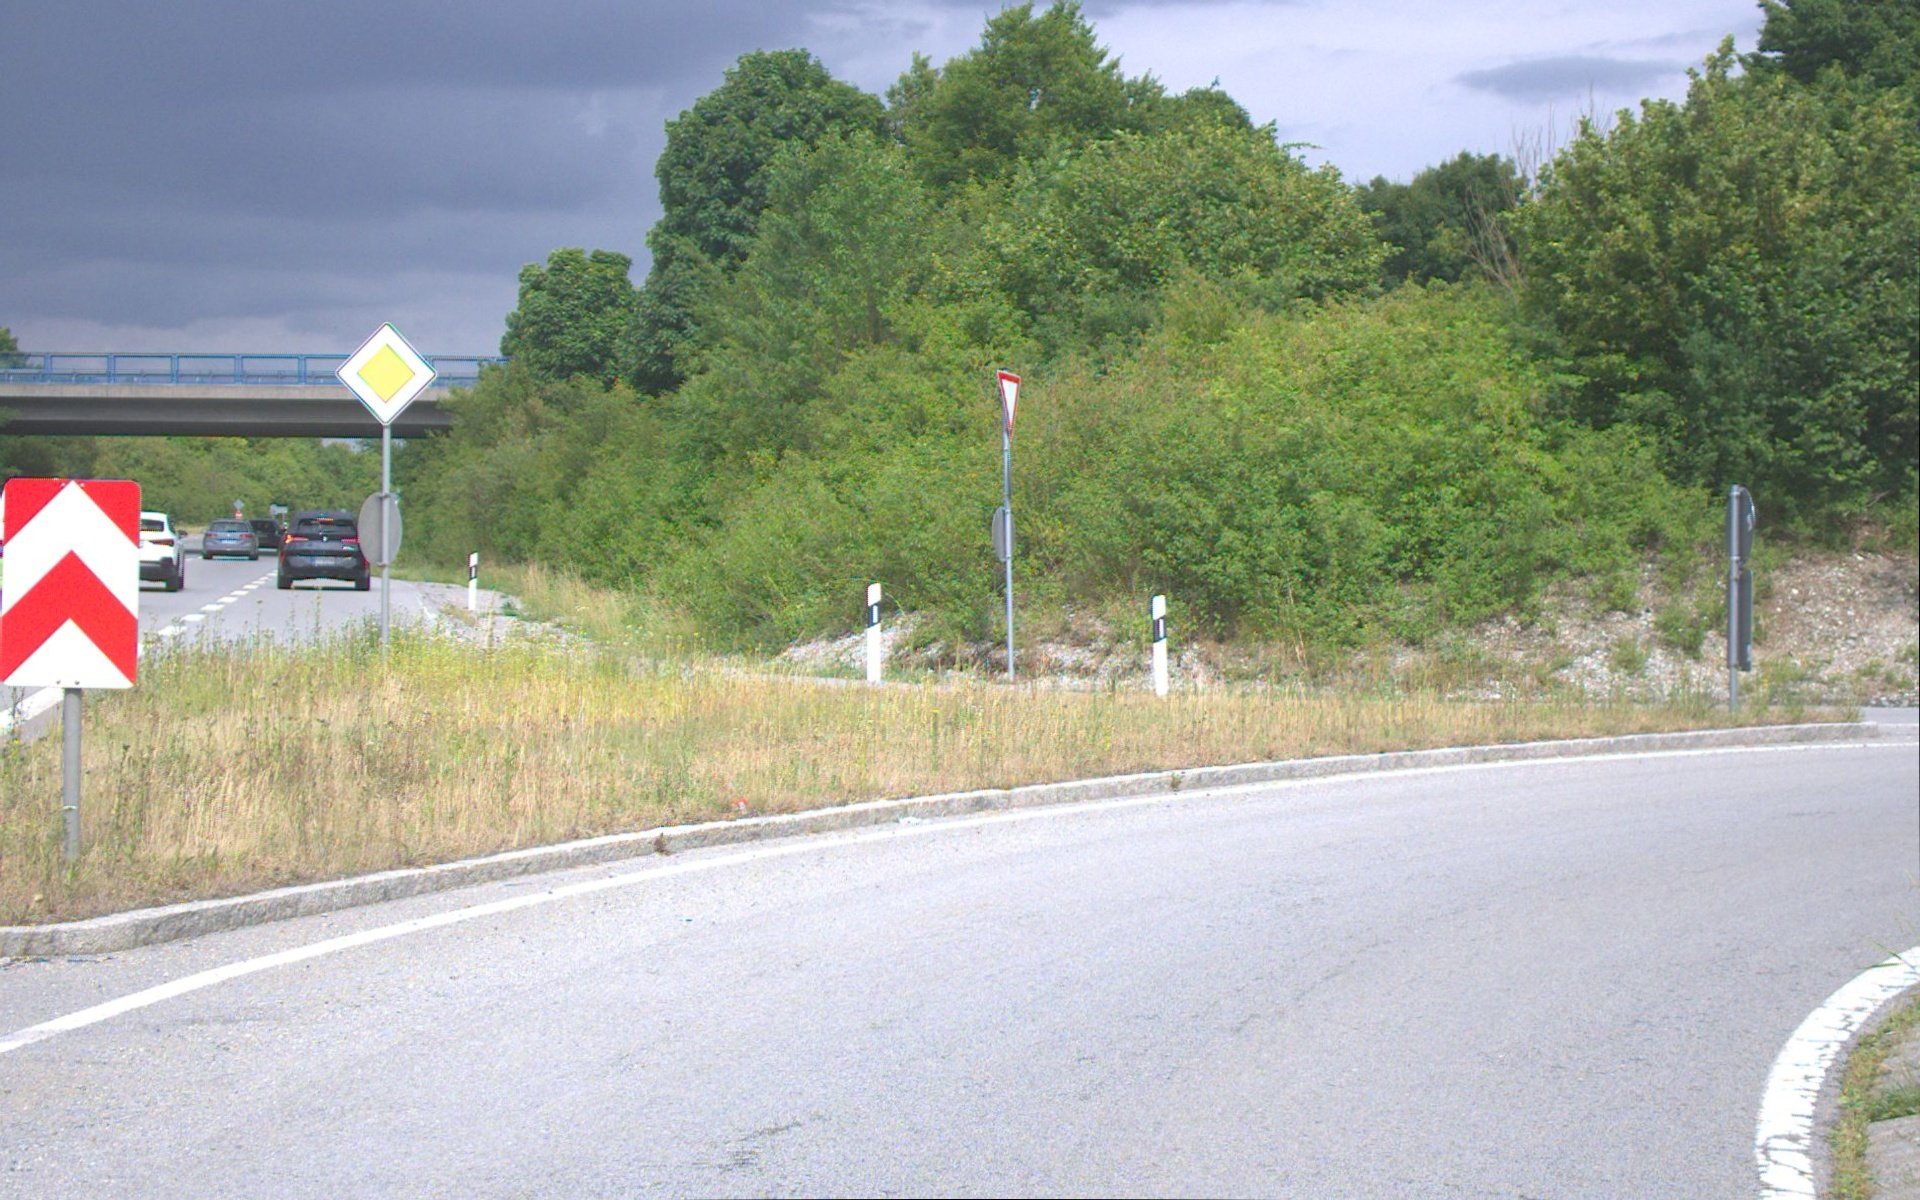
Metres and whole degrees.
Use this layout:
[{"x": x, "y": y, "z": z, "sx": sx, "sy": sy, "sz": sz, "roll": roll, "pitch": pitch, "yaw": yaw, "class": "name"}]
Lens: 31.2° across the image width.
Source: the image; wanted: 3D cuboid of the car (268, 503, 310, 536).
[{"x": -29.349, "y": -3.535, "z": 150.403, "sx": 1.666, "sy": 1.398, "sz": 4.001, "roll": 1, "pitch": 1, "yaw": -10, "class": "car"}]

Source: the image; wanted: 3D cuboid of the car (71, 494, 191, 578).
[{"x": -16.337, "y": -1.279, "z": 67.885, "sx": 1.993, "sy": 1.546, "sz": 4.001, "roll": 2, "pitch": 1, "yaw": -10, "class": "car"}]

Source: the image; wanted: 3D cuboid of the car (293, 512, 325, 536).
[{"x": -38.775, "y": -4.527, "z": 204.842, "sx": 1.666, "sy": 1.398, "sz": 4.001, "roll": 1, "pitch": 1, "yaw": -8, "class": "car"}]

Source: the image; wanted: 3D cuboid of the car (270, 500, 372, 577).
[{"x": -13.659, "y": -1.330, "z": 73.353, "sx": 1.993, "sy": 1.546, "sz": 4.001, "roll": 2, "pitch": 1, "yaw": -12, "class": "car"}]

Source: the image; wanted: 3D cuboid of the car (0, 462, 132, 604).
[{"x": -13.871, "y": -1.053, "z": 53.010, "sx": 1.819, "sy": 2.047, "sz": 4.001, "roll": 2, "pitch": 1, "yaw": -10, "class": "car"}]

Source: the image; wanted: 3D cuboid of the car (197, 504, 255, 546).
[{"x": -25.626, "y": -2.643, "z": 120.104, "sx": 1.666, "sy": 1.398, "sz": 4.001, "roll": 1, "pitch": 1, "yaw": -8, "class": "car"}]

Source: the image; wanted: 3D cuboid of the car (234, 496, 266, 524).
[{"x": -51.514, "y": -6.541, "z": 249.556, "sx": 1.993, "sy": 2.007, "sz": 4.001, "roll": 1, "pitch": 1, "yaw": -7, "class": "car"}]
